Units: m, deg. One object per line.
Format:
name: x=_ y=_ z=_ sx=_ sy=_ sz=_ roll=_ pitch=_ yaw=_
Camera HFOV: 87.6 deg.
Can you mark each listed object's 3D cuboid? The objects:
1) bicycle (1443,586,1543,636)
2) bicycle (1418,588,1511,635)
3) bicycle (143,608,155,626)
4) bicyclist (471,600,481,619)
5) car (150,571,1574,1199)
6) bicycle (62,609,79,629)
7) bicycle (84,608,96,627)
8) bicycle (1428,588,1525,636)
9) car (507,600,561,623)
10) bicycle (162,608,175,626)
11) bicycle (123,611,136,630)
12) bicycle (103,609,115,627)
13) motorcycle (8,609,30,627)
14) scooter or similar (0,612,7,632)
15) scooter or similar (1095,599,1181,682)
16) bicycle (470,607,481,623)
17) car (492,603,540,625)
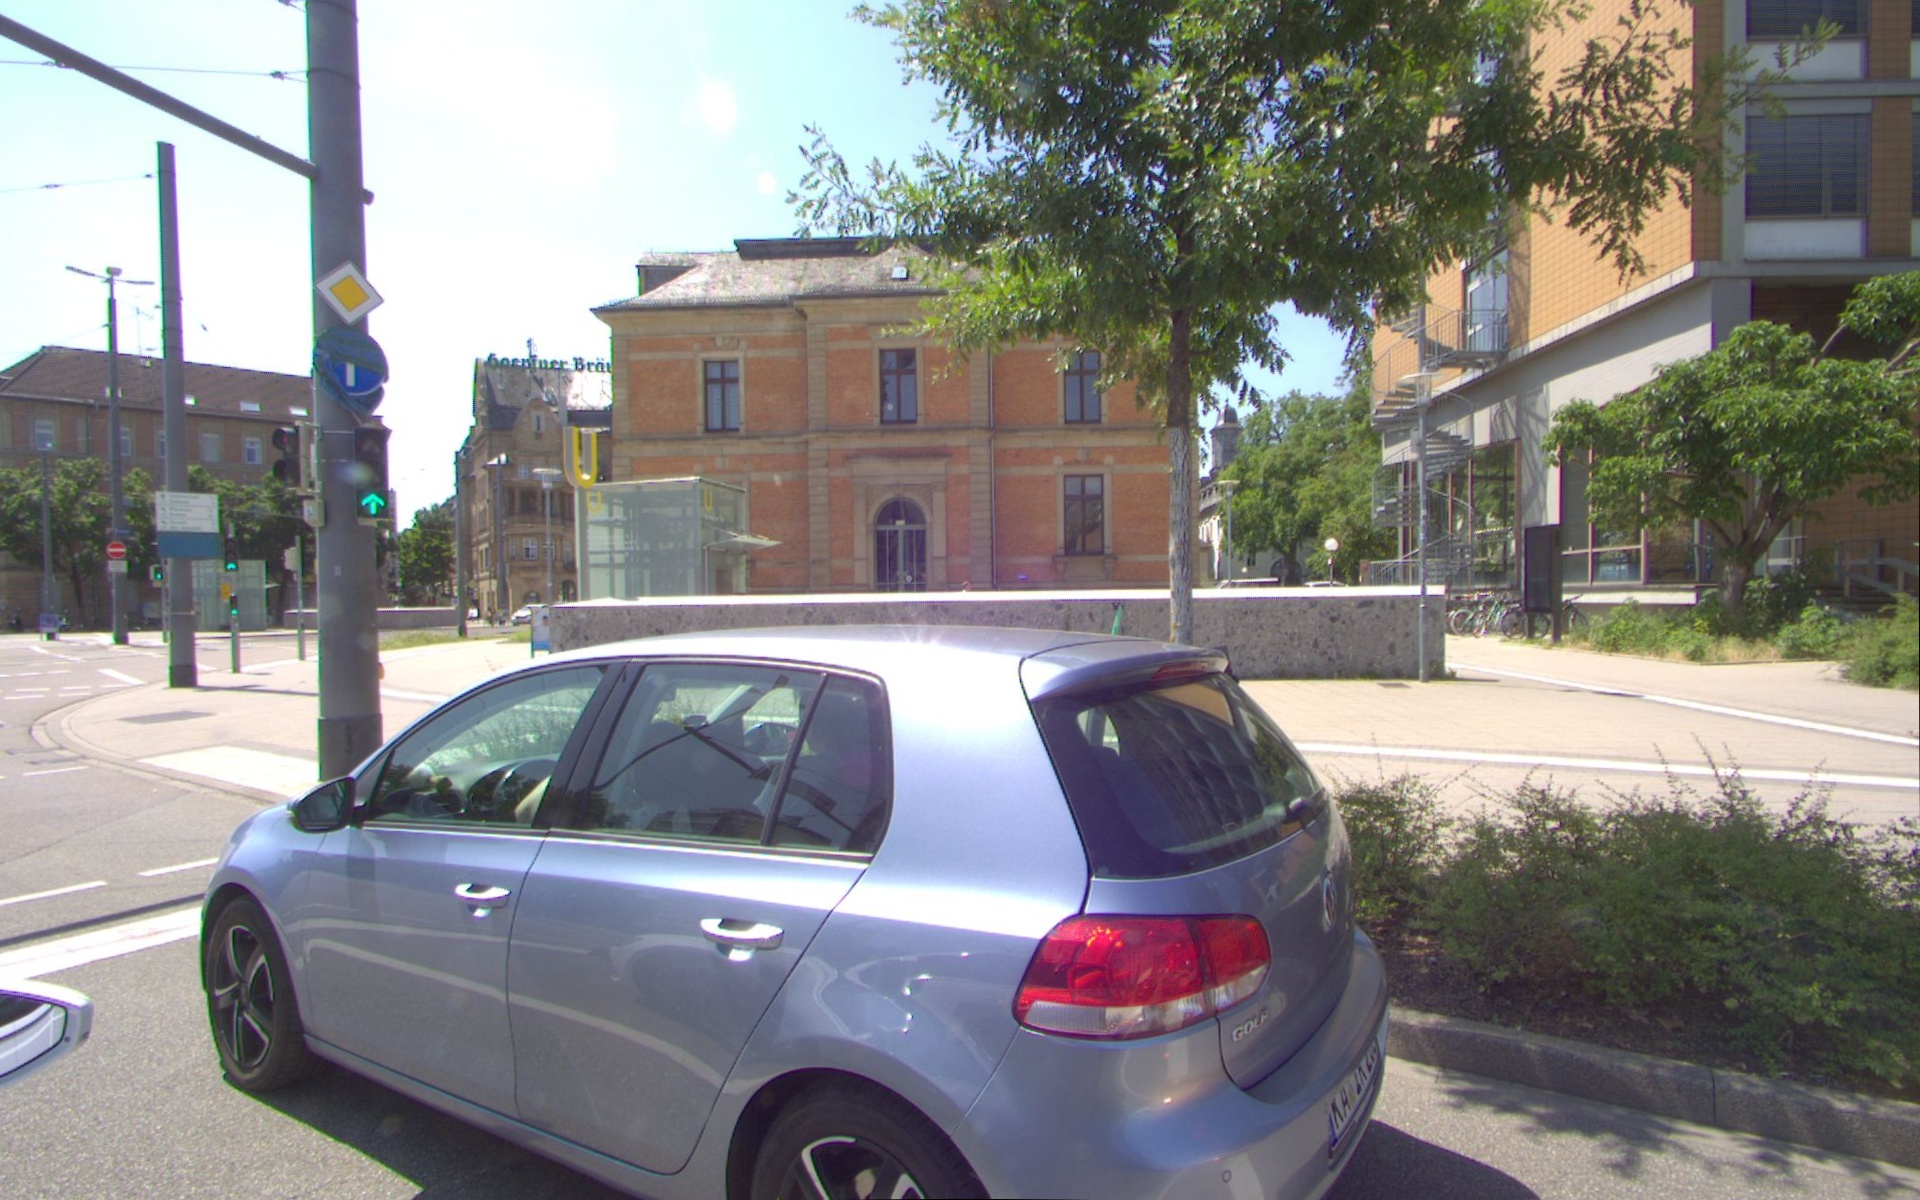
bicycle: x=13.566 y=0.297 z=25.524 sx=2.175 sy=1.234 sz=0.637 roll=0 pitch=-1 yaw=5
bicycle: x=13.668 y=0.328 z=27.174 sx=2.175 sy=1.234 sz=0.637 roll=0 pitch=-1 yaw=5
bicycle: x=-52.450 y=1.090 z=64.762 sx=0.547 sy=1.135 sz=1.854 roll=-1 pitch=1 yaw=-41
bicyclist: x=-43.328 y=0.852 z=89.592 sx=0.729 sy=1.631 sz=1.072 roll=0 pitch=-2 yaw=-30
car: x=-0.527 y=0.739 z=2.952 sx=3.944 sy=1.478 sz=1.649 roll=0 pitch=-1 yaw=31
bicycle: x=-54.602 y=1.160 z=61.445 sx=2.069 sy=1.160 sz=0.440 roll=-2 pitch=-2 yaw=39
bicycle: x=-53.943 y=1.080 z=62.107 sx=0.547 sy=1.135 sz=1.804 roll=-1 pitch=1 yaw=-41
bicycle: x=13.606 y=0.319 z=26.397 sx=2.175 sy=1.234 sz=0.637 roll=0 pitch=-1 yaw=5
car: x=-30.937 y=0.796 z=72.904 sx=1.662 sy=1.626 sz=4.191 roll=0 pitch=0 yaw=8
bicycle: x=-51.924 y=1.106 z=65.668 sx=0.547 sy=1.135 sz=1.912 roll=-1 pitch=1 yaw=-41
bicycle: x=-52.649 y=1.284 z=63.491 sx=0.547 sy=1.135 sz=1.872 roll=-1 pitch=1 yaw=-41
bicycle: x=-53.360 y=1.128 z=62.800 sx=0.547 sy=1.135 sz=1.804 roll=-1 pitch=1 yaw=-41
motorcycle: x=-56.096 y=1.065 z=59.683 sx=1.920 sy=1.089 sz=0.578 roll=0 pitch=1 yaw=36
scooter or similar: x=-58.767 y=1.343 z=60.369 sx=0.589 sy=1.197 sz=1.788 roll=0 pitch=0 yaw=19
scooter or similar: x=2.623 y=0.590 z=14.728 sx=1.227 sy=1.186 sz=0.458 roll=0 pitch=1 yaw=13
bicycle: x=-43.354 y=1.340 z=89.623 sx=0.729 sy=1.416 sz=2.004 roll=0 pitch=-2 yaw=-29
car: x=-33.795 y=1.044 z=76.270 sx=1.662 sy=1.626 sz=3.651 roll=0 pitch=0 yaw=8
